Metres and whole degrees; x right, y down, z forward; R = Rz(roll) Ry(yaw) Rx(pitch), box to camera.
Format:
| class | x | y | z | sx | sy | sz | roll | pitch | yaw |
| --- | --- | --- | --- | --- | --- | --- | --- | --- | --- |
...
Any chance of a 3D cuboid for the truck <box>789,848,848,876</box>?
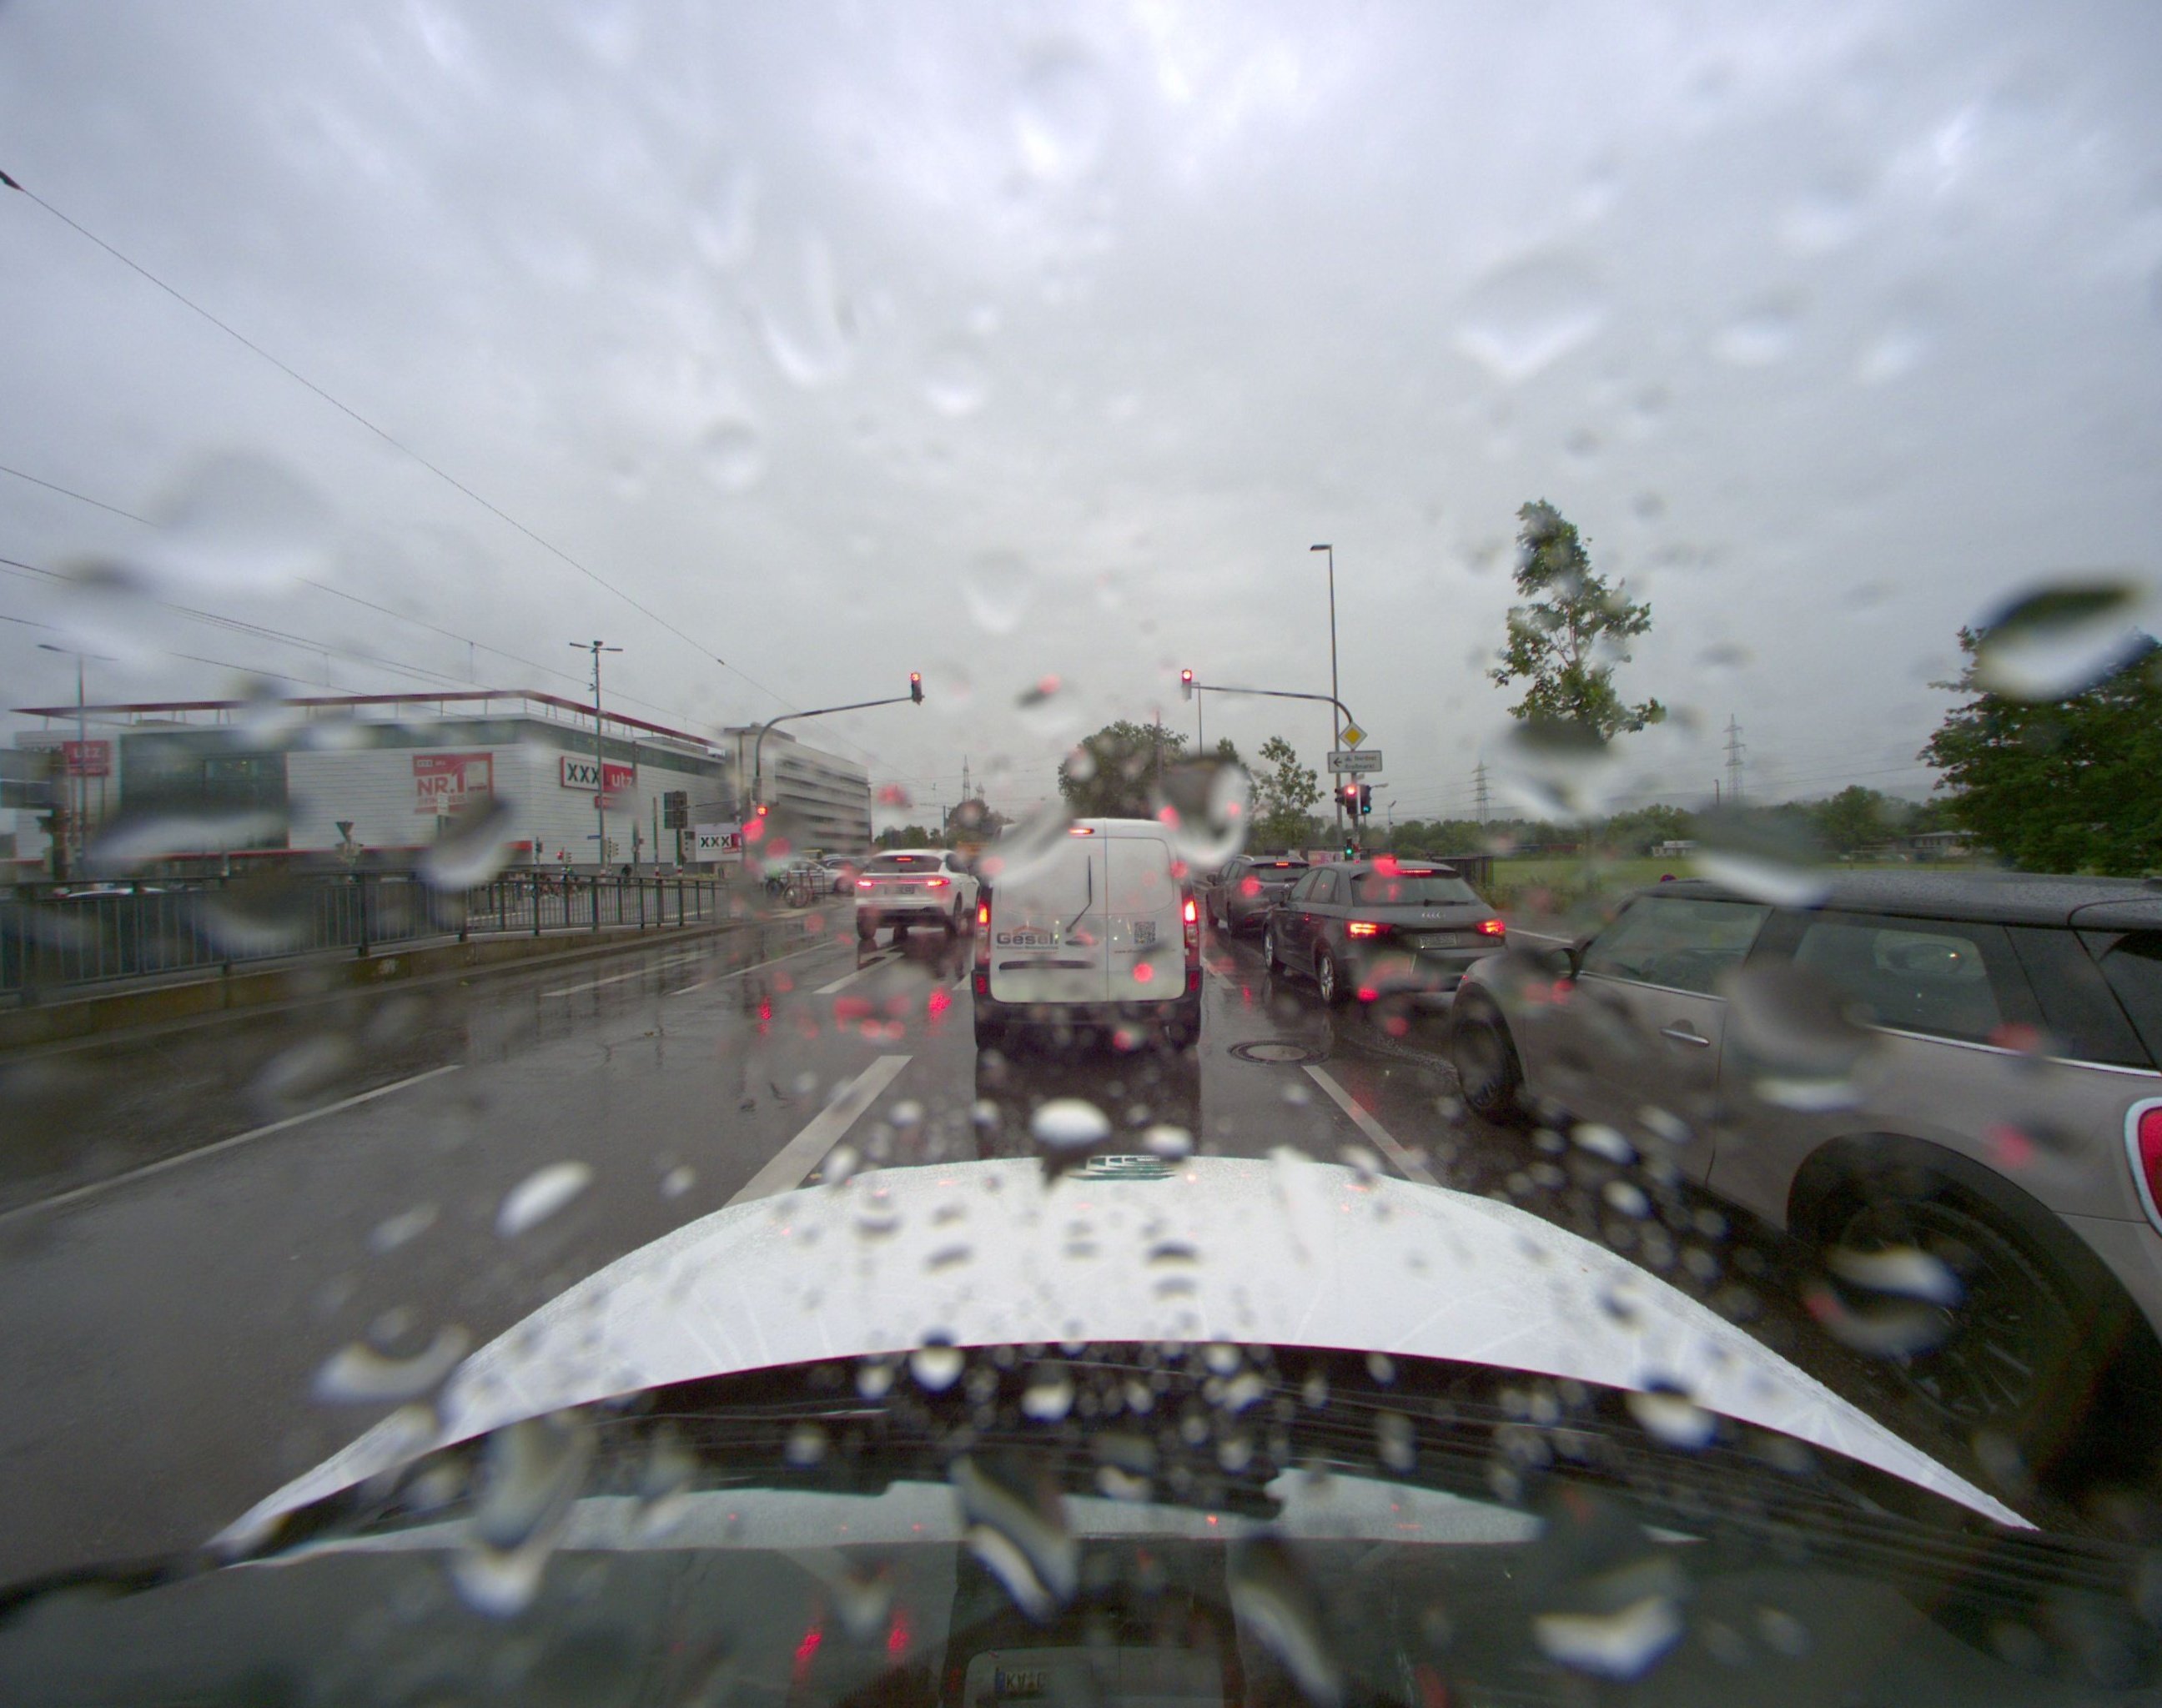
| class | x | y | z | sx | sy | sz | roll | pitch | yaw |
| --- | --- | --- | --- | --- | --- | --- | --- | --- | --- |
| truck | -22.441 | 0.672 | 70.019 | 2.342 | 2.279 | 7.637 | 0 | 0 | 2 |

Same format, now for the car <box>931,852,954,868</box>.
| class | x | y | z | sx | sy | sz | roll | pitch | yaw |
| --- | --- | --- | --- | --- | --- | --- | --- | --- | --- |
| car | -17.751 | 0.737 | 104.604 | 1.985 | 2.014 | 4.003 | 0 | -1 | 3 |

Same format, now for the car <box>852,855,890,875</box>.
| class | x | y | z | sx | sy | sz | roll | pitch | yaw |
| --- | --- | --- | --- | --- | --- | --- | --- | --- | --- |
| car | -18.265 | 0.921 | 71.046 | 1.883 | 1.699 | 4.006 | 0 | -1 | 6 |

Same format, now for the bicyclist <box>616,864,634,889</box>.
| class | x | y | z | sx | sy | sz | roll | pitch | yaw |
| --- | --- | --- | --- | --- | --- | --- | --- | --- | --- |
| bicyclist | -26.753 | 1.295 | 47.745 | 0.681 | 1.464 | 0.647 | 0 | -1 | 3 |

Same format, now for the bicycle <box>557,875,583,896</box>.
| class | x | y | z | sx | sy | sz | roll | pitch | yaw |
| --- | --- | --- | --- | --- | --- | --- | --- | --- | --- |
| bicycle | -27.043 | 1.639 | 43.098 | 0.409 | 1.061 | 1.508 | 0 | -1 | 0 |

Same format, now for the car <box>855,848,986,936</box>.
| class | x | y | z | sx | sy | sz | roll | pitch | yaw |
| --- | --- | --- | --- | --- | --- | --- | --- | --- | --- |
| car | -3.054 | 0.648 | 16.378 | 1.723 | 1.535 | 4.298 | 0 | 0 | 1 |

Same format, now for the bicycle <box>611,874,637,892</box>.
| class | x | y | z | sx | sy | sz | roll | pitch | yaw |
| --- | --- | --- | --- | --- | --- | --- | --- | --- | --- |
| bicycle | -26.732 | 1.680 | 47.670 | 0.448 | 0.987 | 1.710 | 0 | -1 | 3 |

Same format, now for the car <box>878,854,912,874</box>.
| class | x | y | z | sx | sy | sz | roll | pitch | yaw |
| --- | --- | --- | --- | --- | --- | --- | --- | --- | --- |
| car | -17.774 | 0.967 | 78.041 | 1.919 | 1.827 | 4.007 | 0 | -1 | 6 |

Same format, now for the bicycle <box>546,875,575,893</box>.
| class | x | y | z | sx | sy | sz | roll | pitch | yaw |
| --- | --- | --- | --- | --- | --- | --- | --- | --- | --- |
| bicycle | -28.923 | 1.668 | 45.316 | 0.448 | 0.987 | 1.710 | 0 | -1 | 3 |

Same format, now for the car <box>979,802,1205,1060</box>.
| class | x | y | z | sx | sy | sz | roll | pitch | yaw |
| --- | --- | --- | --- | --- | --- | --- | --- | --- | --- |
| car | 0.142 | 0.548 | 7.718 | 1.560 | 1.788 | 4.002 | -1 | 0 | 2 |

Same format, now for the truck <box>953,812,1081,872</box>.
| class | x | y | z | sx | sy | sz | roll | pitch | yaw |
| --- | --- | --- | --- | --- | --- | --- | --- | --- | --- |
| truck | -3.088 | -0.539 | 41.509 | 2.607 | 2.816 | 7.190 | -1 | -1 | 33 |

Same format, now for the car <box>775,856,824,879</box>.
| class | x | y | z | sx | sy | sz | roll | pitch | yaw |
| --- | --- | --- | --- | --- | --- | --- | --- | --- | --- |
| car | -19.701 | 0.926 | 57.162 | 1.689 | 1.492 | 3.884 | -1 | -1 | 7 |

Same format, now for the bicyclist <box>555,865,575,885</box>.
| class | x | y | z | sx | sy | sz | roll | pitch | yaw |
| --- | --- | --- | --- | --- | --- | --- | --- | --- | --- |
| bicyclist | -28.921 | 1.170 | 45.632 | 0.681 | 1.134 | 0.647 | 0 | -1 | 3 |

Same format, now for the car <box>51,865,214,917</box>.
| class | x | y | z | sx | sy | sz | roll | pitch | yaw |
| --- | --- | --- | --- | --- | --- | --- | --- | --- | --- |
| car | -38.399 | 1.469 | 33.044 | 4.298 | 2.014 | 2.001 | 0 | -1 | 1 |

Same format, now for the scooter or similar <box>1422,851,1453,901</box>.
| class | x | y | z | sx | sy | sz | roll | pitch | yaw |
| --- | --- | --- | --- | --- | --- | --- | --- | --- | --- |
| scooter or similar | 8.464 | 0.508 | 19.358 | 0.244 | 1.158 | 1.187 | 0 | -1 | 3 |

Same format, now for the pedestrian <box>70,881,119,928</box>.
| class | x | y | z | sx | sy | sz | roll | pitch | yaw |
| --- | --- | --- | --- | --- | --- | --- | --- | --- | --- |
| pedestrian | -33.233 | 1.685 | 27.439 | 0.561 | 1.537 | 0.872 | 0 | -1 | 1 |

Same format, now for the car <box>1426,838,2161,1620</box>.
| class | x | y | z | sx | sy | sz | roll | pitch | yaw |
| --- | --- | --- | --- | --- | --- | --- | --- | --- | --- |
| car | 2.956 | 0.716 | 3.203 | 1.707 | 1.508 | 3.624 | 0 | 0 | 1 |

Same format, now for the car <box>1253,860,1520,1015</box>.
| class | x | y | z | sx | sy | sz | roll | pitch | yaw |
| --- | --- | --- | --- | --- | --- | --- | --- | --- | --- |
| car | 3.066 | 0.749 | 8.970 | 1.623 | 1.344 | 3.624 | 0 | 0 | 1 |

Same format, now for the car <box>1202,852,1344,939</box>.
| class | x | y | z | sx | sy | sz | roll | pitch | yaw |
| --- | --- | --- | --- | --- | --- | --- | --- | --- | --- |
| car | 3.502 | 0.694 | 15.560 | 1.853 | 1.428 | 3.808 | 0 | 0 | 1 |

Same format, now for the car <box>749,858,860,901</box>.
| class | x | y | z | sx | sy | sz | roll | pitch | yaw |
| --- | --- | --- | --- | --- | --- | --- | --- | --- | --- |
| car | -11.205 | 0.996 | 33.041 | 4.089 | 1.660 | 1.605 | 0 | -1 | -27 |

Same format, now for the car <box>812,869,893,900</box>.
| class | x | y | z | sx | sy | sz | roll | pitch | yaw |
| --- | --- | --- | --- | --- | --- | --- | --- | --- | --- |
| car | -11.152 | 1.459 | 40.001 | 3.735 | 1.410 | 1.832 | 0 | -1 | -13 |

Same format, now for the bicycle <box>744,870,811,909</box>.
| class | x | y | z | sx | sy | sz | roll | pitch | yaw |
| --- | --- | --- | --- | --- | --- | --- | --- | --- | --- |
| bicycle | -8.840 | 1.031 | 23.760 | 1.745 | 1.034 | 0.414 | 2 | -1 | 0 |

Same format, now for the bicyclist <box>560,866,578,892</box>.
| class | x | y | z | sx | sy | sz | roll | pitch | yaw |
| --- | --- | --- | --- | --- | --- | --- | --- | --- | --- |
| bicyclist | -27.086 | 1.314 | 43.079 | 0.531 | 1.399 | 0.650 | 0 | -1 | -1 |
